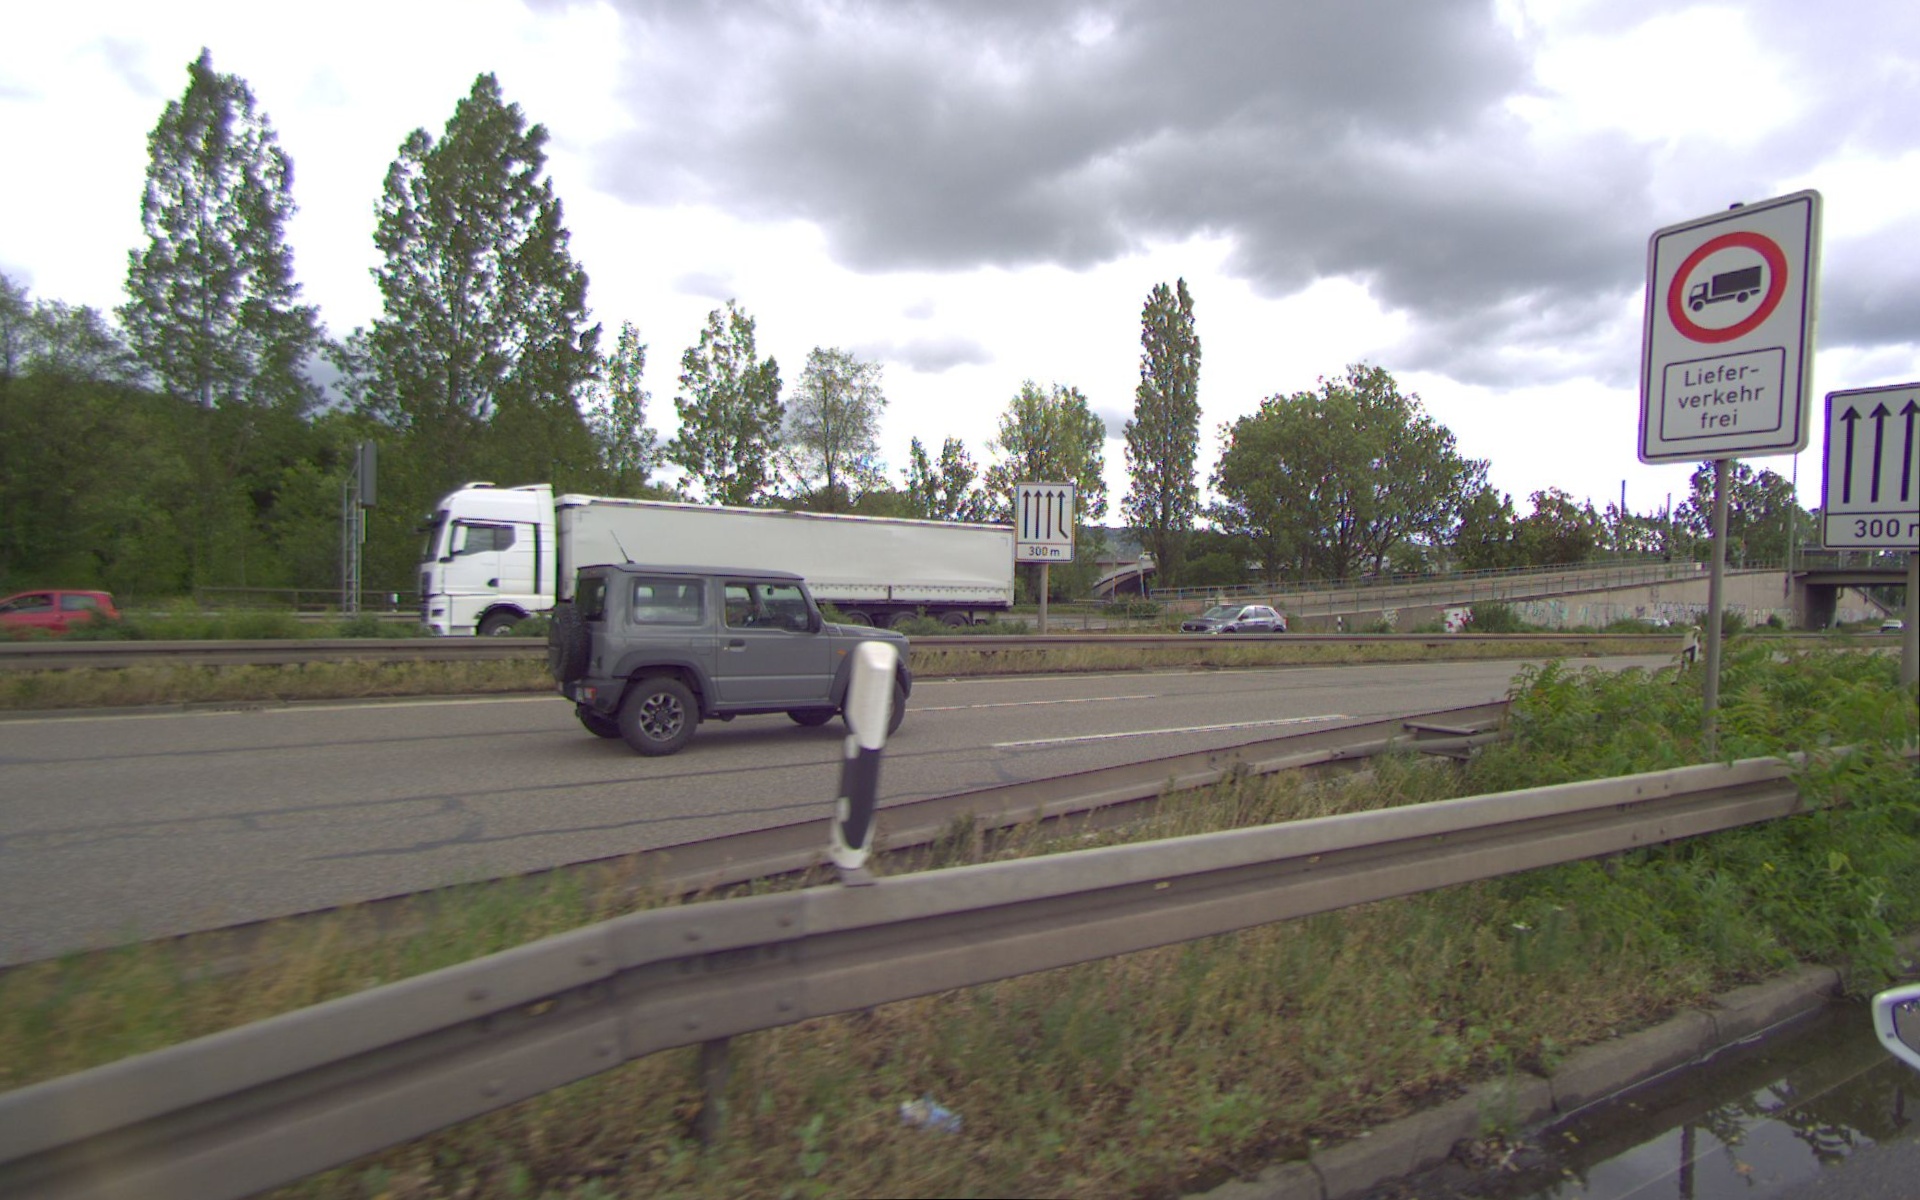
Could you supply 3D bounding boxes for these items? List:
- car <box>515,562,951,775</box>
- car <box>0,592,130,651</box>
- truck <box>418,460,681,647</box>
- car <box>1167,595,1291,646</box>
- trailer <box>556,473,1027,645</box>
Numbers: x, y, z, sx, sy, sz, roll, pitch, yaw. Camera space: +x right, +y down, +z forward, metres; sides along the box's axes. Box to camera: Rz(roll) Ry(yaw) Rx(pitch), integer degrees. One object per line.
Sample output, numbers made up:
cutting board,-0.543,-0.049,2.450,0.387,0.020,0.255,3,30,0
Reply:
car,-2.185,0.589,10.118,3.959,1.759,1.669,1,0,-36
car,-22.658,0.504,24.518,3.582,1.379,1.640,0,0,-37
truck,-9.809,-0.997,24.127,5.263,3.990,2.769,1,2,-37
car,9.059,0.695,33.732,3.963,1.542,1.979,1,2,-37
trailer,-4.098,-0.879,28.489,13.388,4.002,2.769,1,2,-37
